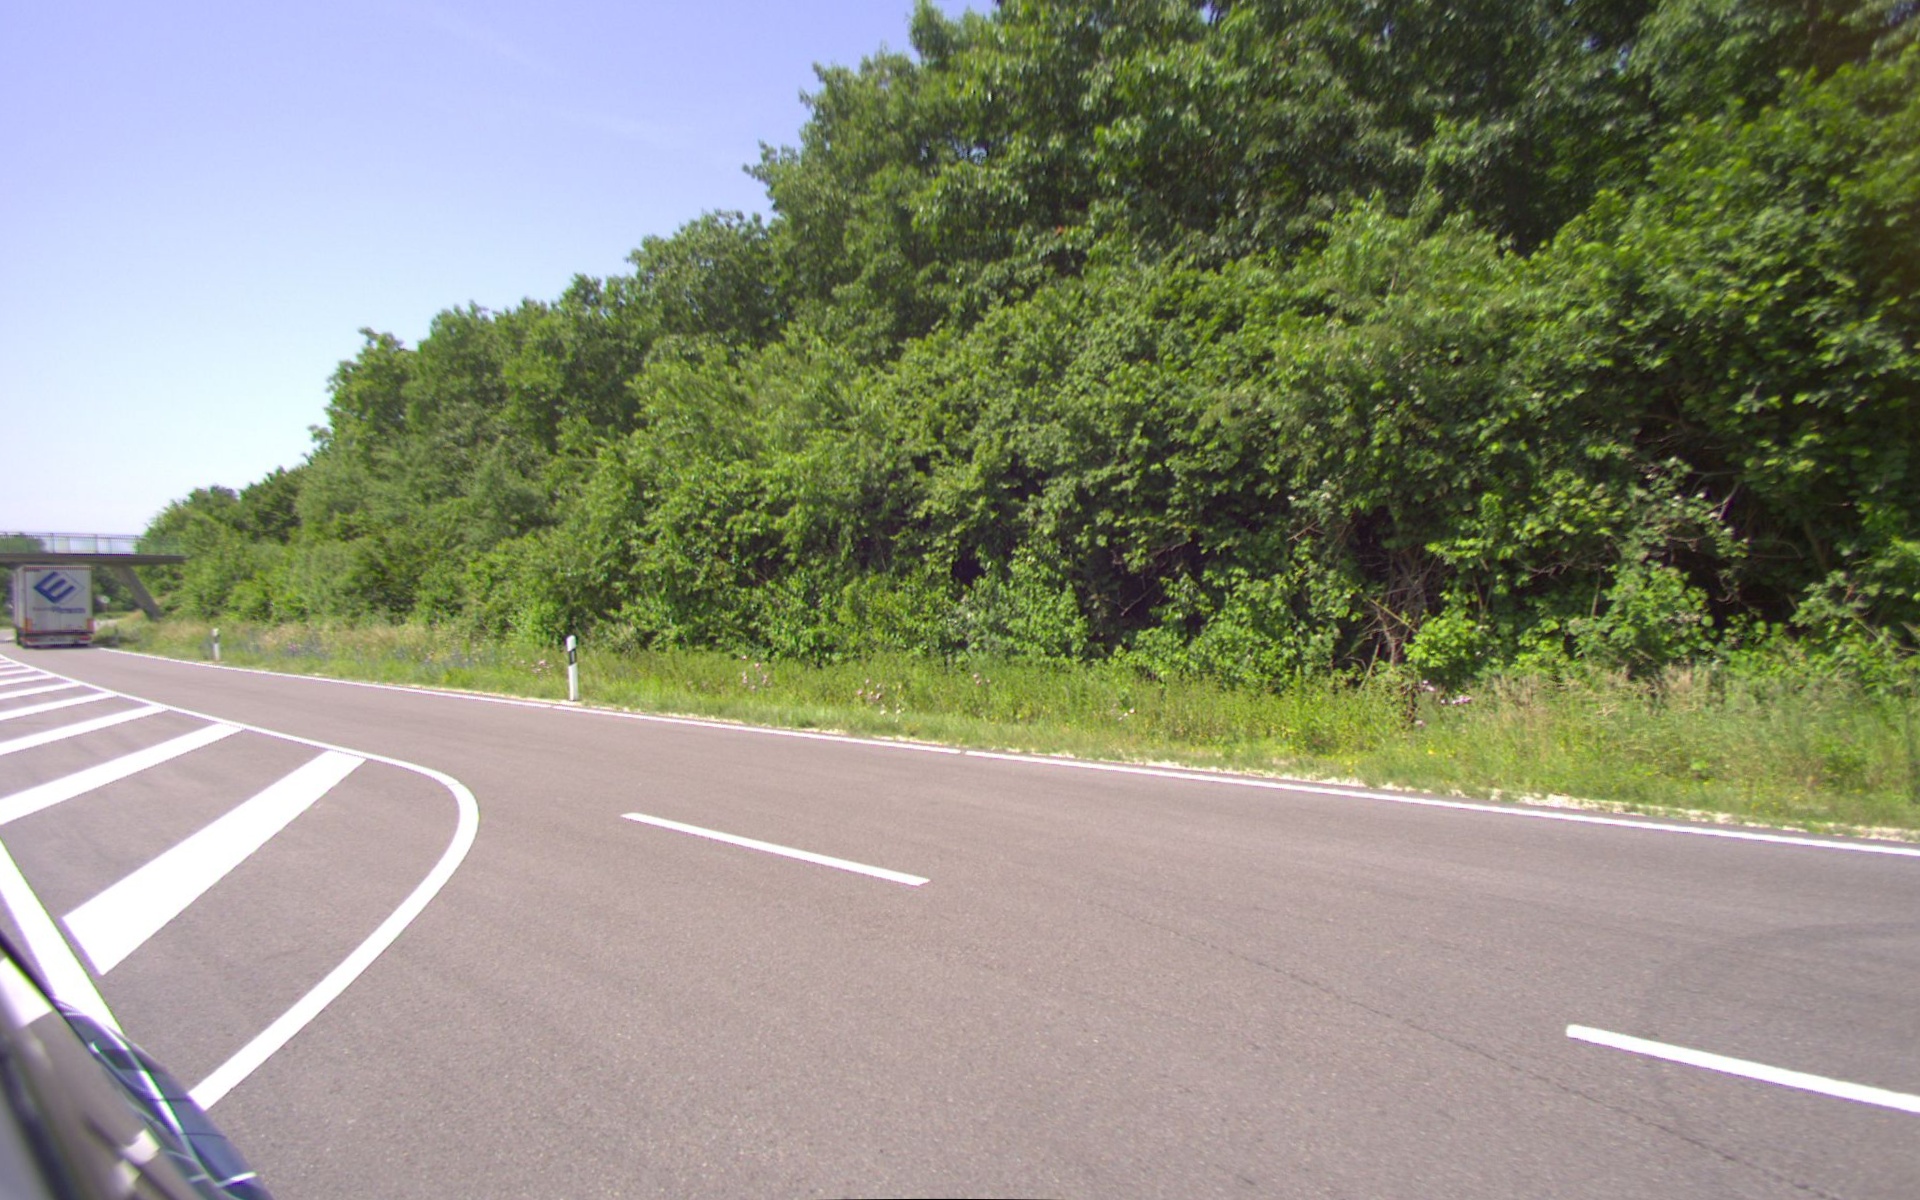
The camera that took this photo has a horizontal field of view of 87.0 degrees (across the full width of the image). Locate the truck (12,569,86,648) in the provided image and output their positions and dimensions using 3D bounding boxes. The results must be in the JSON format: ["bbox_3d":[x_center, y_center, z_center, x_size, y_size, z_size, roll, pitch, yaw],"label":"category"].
[{"bbox_3d":[-51.920,0.519,57.558,2.765,4.127,11.071,-1,-1,-44],"label":"truck"}]

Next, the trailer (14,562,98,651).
[{"bbox_3d":[-45.605,0.358,50.939,2.795,4.127,9.008,-1,-1,-44],"label":"trailer"}]
